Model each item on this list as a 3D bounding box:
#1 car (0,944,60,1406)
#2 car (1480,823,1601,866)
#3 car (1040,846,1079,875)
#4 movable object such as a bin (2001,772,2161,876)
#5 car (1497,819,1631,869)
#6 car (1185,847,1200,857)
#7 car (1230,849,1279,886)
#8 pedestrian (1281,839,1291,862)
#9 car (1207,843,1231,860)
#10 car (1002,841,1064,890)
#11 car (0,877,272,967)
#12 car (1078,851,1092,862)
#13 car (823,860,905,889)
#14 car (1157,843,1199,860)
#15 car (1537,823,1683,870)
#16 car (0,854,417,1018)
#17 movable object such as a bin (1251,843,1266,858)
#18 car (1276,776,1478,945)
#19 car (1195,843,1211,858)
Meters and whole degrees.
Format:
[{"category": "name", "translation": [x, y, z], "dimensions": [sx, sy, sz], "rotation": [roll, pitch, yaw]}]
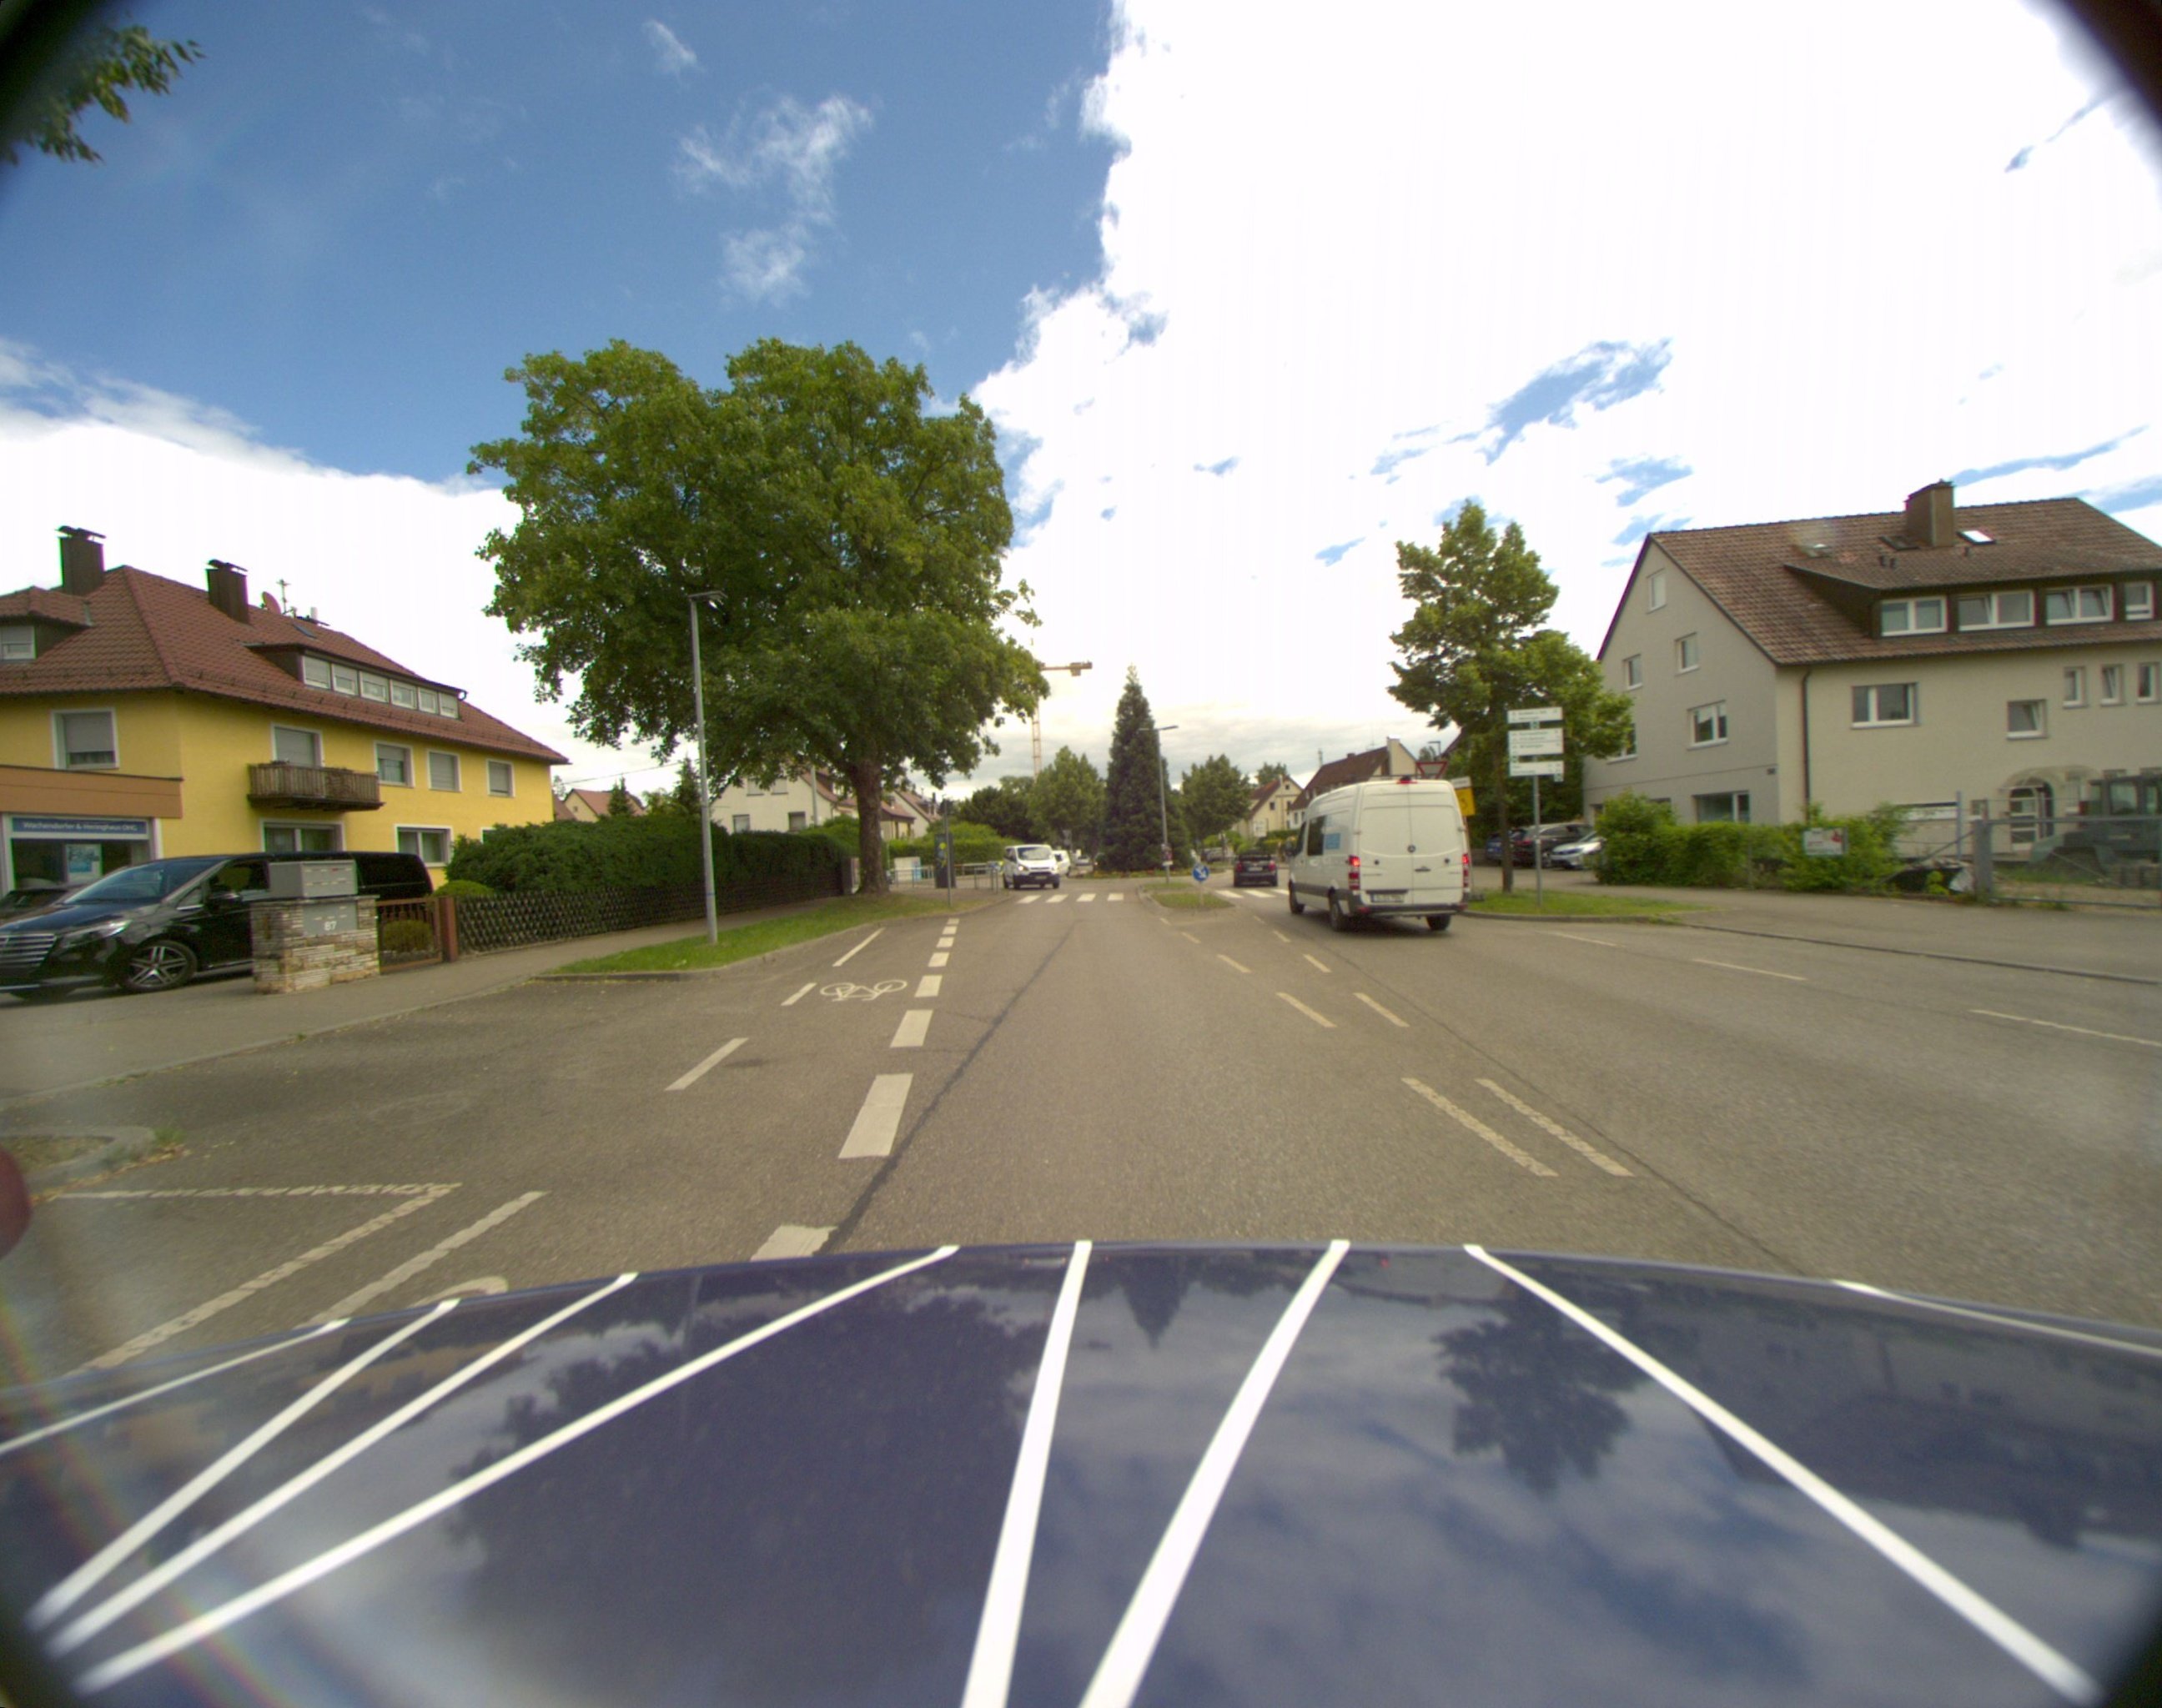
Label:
[{"category": "car", "translation": [-4.277, 1.068, 0.709], "dimensions": [1.569, 1.447, 3.668], "rotation": [-2, 1, 2]}, {"category": "car", "translation": [19.311, -0.408, 32.052], "dimensions": [3.927, 1.527, 1.819], "rotation": [-4, 2, 2]}, {"category": "car", "translation": [-1.407, 0.381, 50.702], "dimensions": [1.925, 1.744, 4.002], "rotation": [-3, 0, 7]}, {"category": "movable object such as a bin", "translation": [23.547, -0.667, 16.480], "dimensions": [1.901, 2.175, 4.362], "rotation": [-2, 1, 0]}, {"category": "car", "translation": [18.724, -0.410, 29.606], "dimensions": [3.926, 1.653, 1.855], "rotation": [-3, 2, 7]}, {"category": "car", "translation": [16.971, -0.358, 115.712], "dimensions": [1.665, 1.466, 3.747], "rotation": [-2, 0, 2]}, {"category": "car", "translation": [7.023, 0.513, 31.046], "dimensions": [1.576, 1.354, 3.744], "rotation": [-2, 0, 8]}, {"category": "pedestrian", "translation": [16.404, -0.289, 60.796], "dimensions": [0.636, 1.816, 0.567], "rotation": [-3, 1, 17]}, {"category": "car", "translation": [14.182, -0.208, 78.313], "dimensions": [1.751, 1.626, 4.048], "rotation": [-3, 0, 2]}, {"category": "car", "translation": [-2.290, 0.513, 34.860], "dimensions": [2.001, 2.002, 5.044], "rotation": [-3, 0, -13]}, {"category": "car", "translation": [-21.210, 1.427, 17.012], "dimensions": [1.773, 1.573, 3.972], "rotation": [-4, 0, 1]}, {"category": "car", "translation": [0.540, 0.361, 104.096], "dimensions": [1.781, 1.446, 4.171], "rotation": [-2, 0, 0]}, {"category": "car", "translation": [-12.896, 1.199, 45.209], "dimensions": [4.316, 1.440, 1.584], "rotation": [-3, 0, 5]}, {"category": "car", "translation": [8.369, -0.205, 65.838], "dimensions": [1.616, 1.364, 4.497], "rotation": [-2, 2, -23]}, {"category": "car", "translation": [18.795, -0.267, 27.131], "dimensions": [3.927, 1.394, 1.747], "rotation": [-4, 1, 2]}, {"category": "car", "translation": [-12.850, 1.006, 11.298], "dimensions": [1.820, 1.870, 4.468], "rotation": [-4, 0, 1]}, {"category": "movable object such as a bin", "translation": [17.512, -0.300, 75.010], "dimensions": [0.983, 1.408, 2.723], "rotation": [-3, 0, 2]}, {"category": "car", "translation": [5.537, 0.101, 15.191], "dimensions": [2.023, 2.658, 5.807], "rotation": [-2, 0, 4]}, {"category": "car", "translation": [15.101, -0.436, 94.313], "dimensions": [1.750, 1.819, 4.049], "rotation": [-3, 0, 6]}]
